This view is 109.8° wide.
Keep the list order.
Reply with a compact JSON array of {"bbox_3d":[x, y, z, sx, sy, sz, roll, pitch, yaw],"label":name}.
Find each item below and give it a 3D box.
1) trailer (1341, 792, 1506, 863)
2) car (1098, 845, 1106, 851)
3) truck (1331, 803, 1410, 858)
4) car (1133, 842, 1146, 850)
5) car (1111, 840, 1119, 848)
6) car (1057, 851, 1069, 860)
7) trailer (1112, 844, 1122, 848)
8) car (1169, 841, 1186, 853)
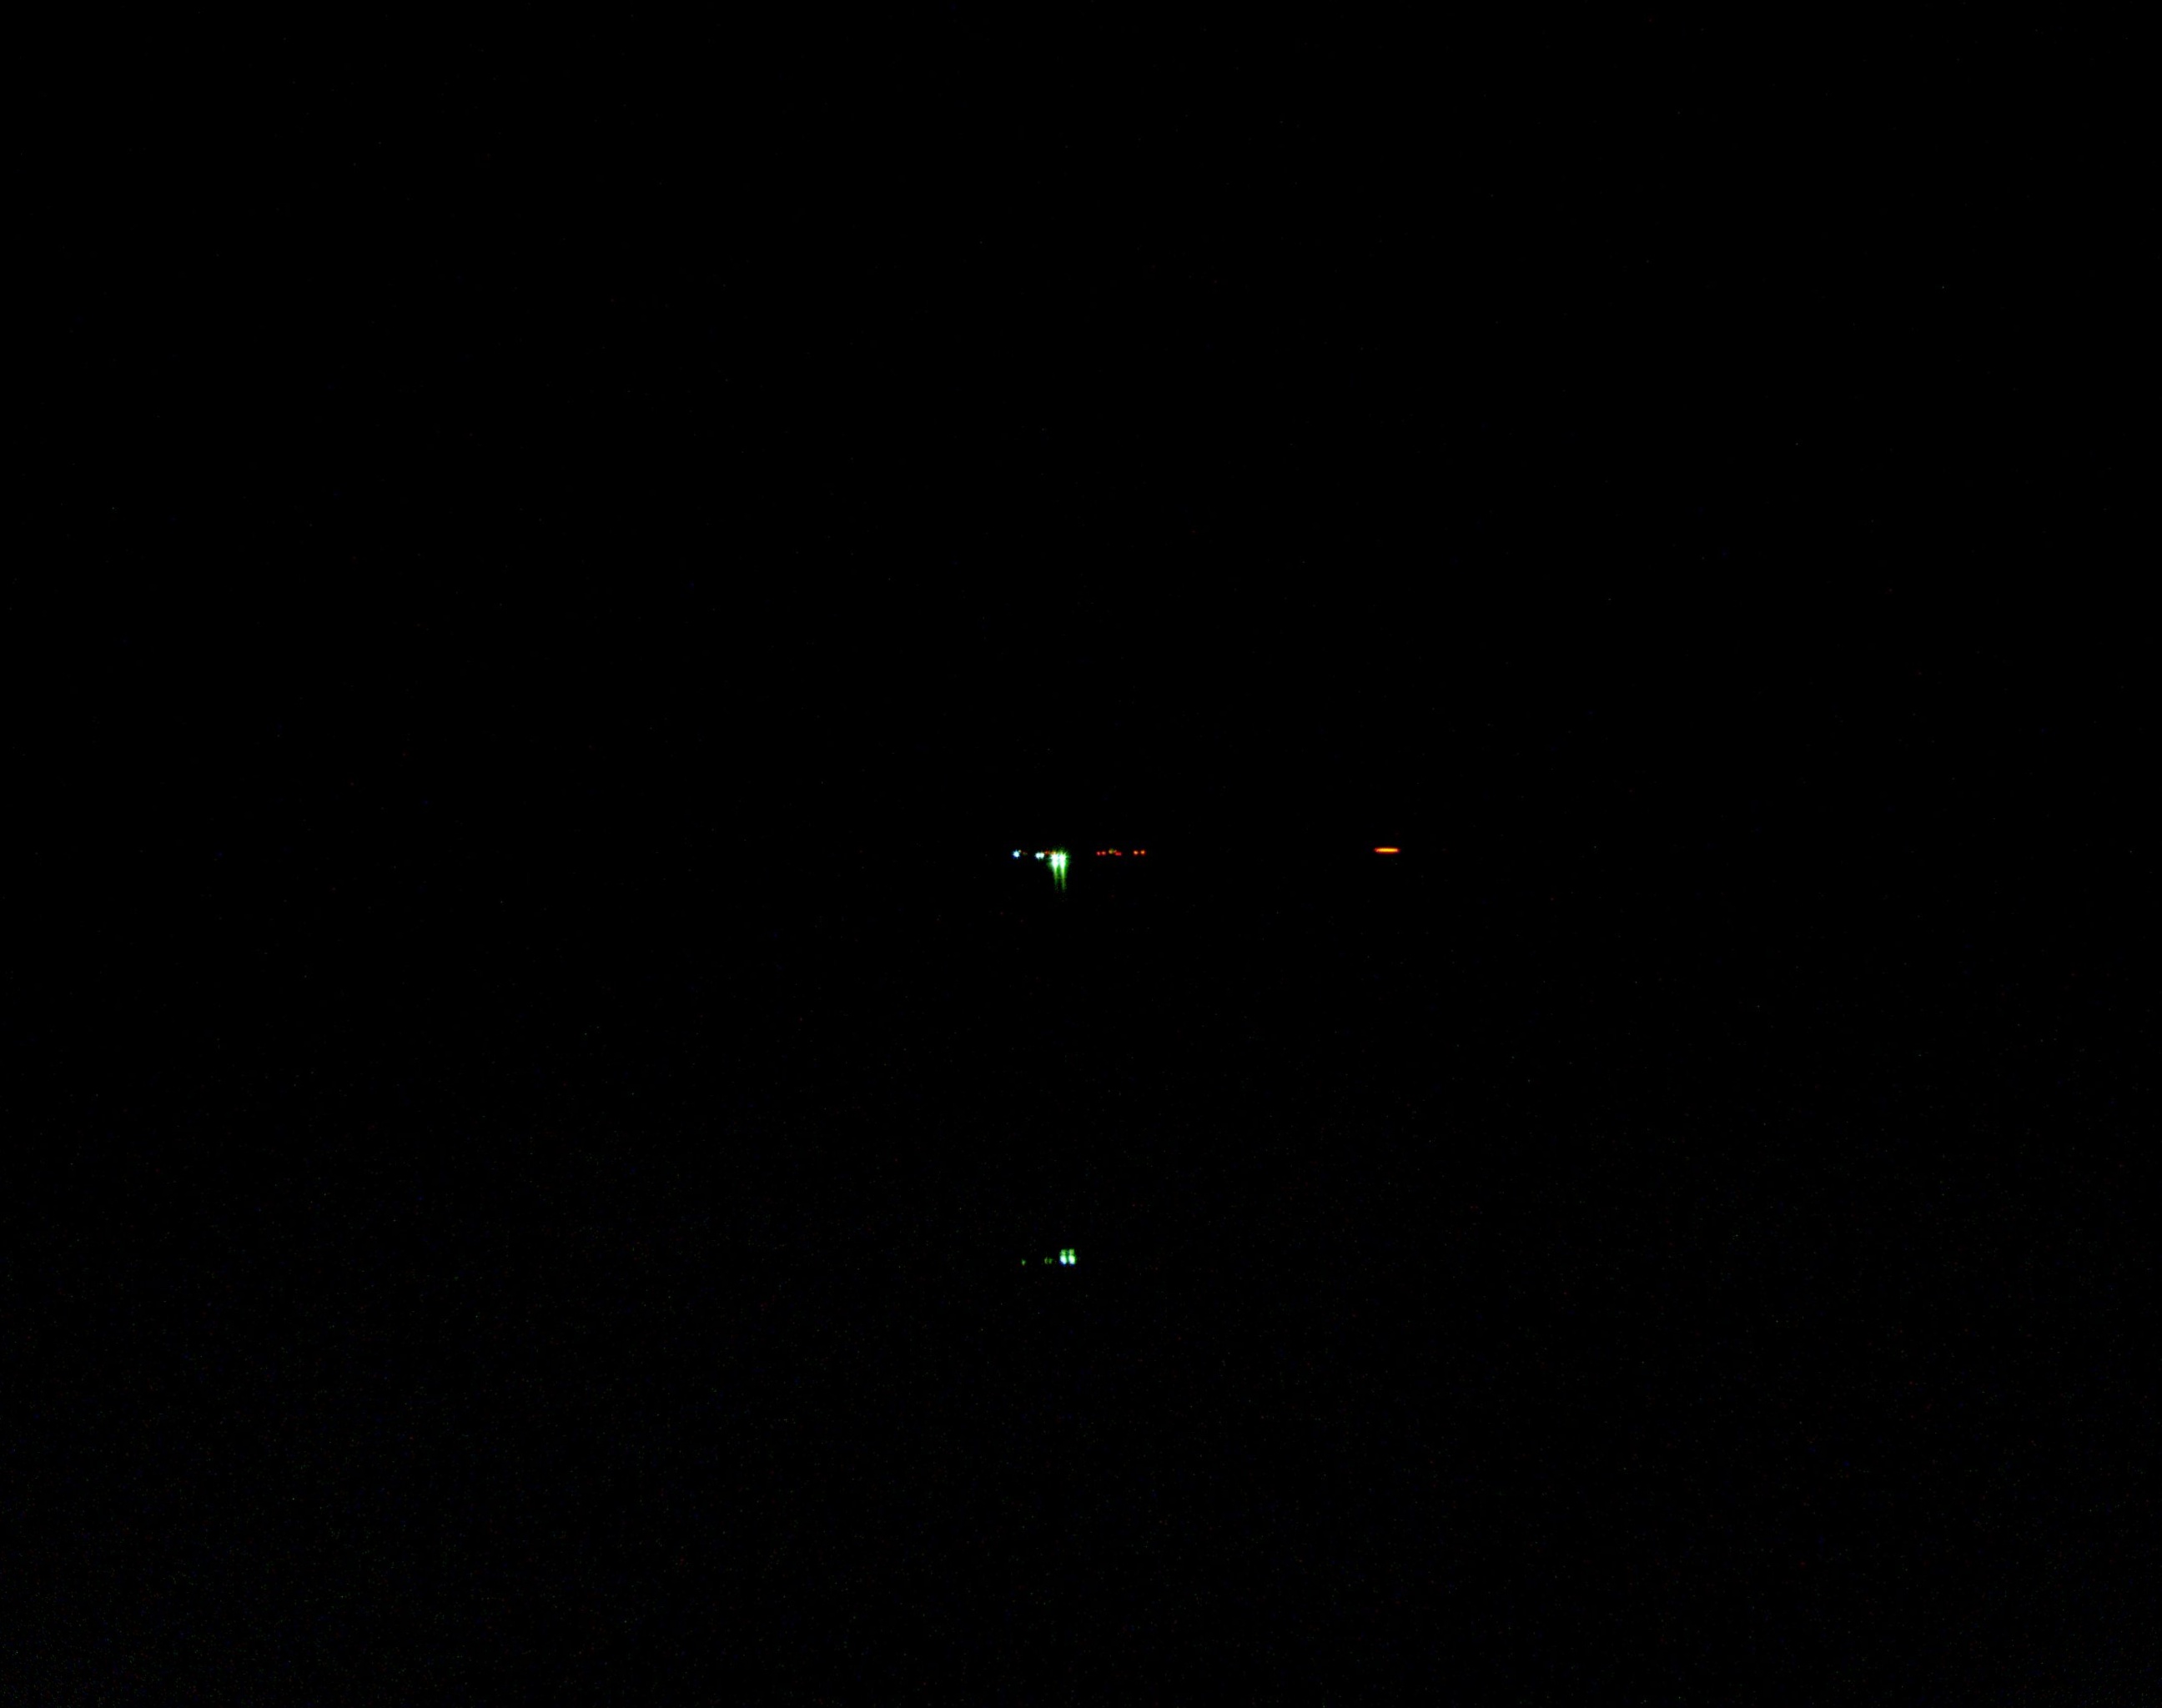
[{"bbox_3d":[22.689,-1.700,52.377,3.552,3.977,17.278,-2,1,0],"label":"trailer"},{"bbox_3d":[6.142,-1.731,224.858,1.908,1.496,4.271,-2,1,-4],"label":"car"},{"bbox_3d":[22.664,-1.816,59.884,3.511,3.947,6.697,-2,1,-1],"label":"truck"},{"bbox_3d":[13.337,-1.795,172.600,1.999,1.811,5.684,-2,1,-4],"label":"car"},{"bbox_3d":[11.131,-3.239,251.373,2.088,2.473,6.239,-2,1,-3],"label":"car"},{"bbox_3d":[-3.322,0.225,141.701,2.154,1.558,4.580,-2,1,-1],"label":"car"},{"bbox_3d":[11.633,-2.463,244.259,2.421,1.098,8.072,-2,1,-4],"label":"trailer"},{"bbox_3d":[13.660,-1.014,107.969,1.750,1.636,3.741,-2,1,-2],"label":"car"}]
